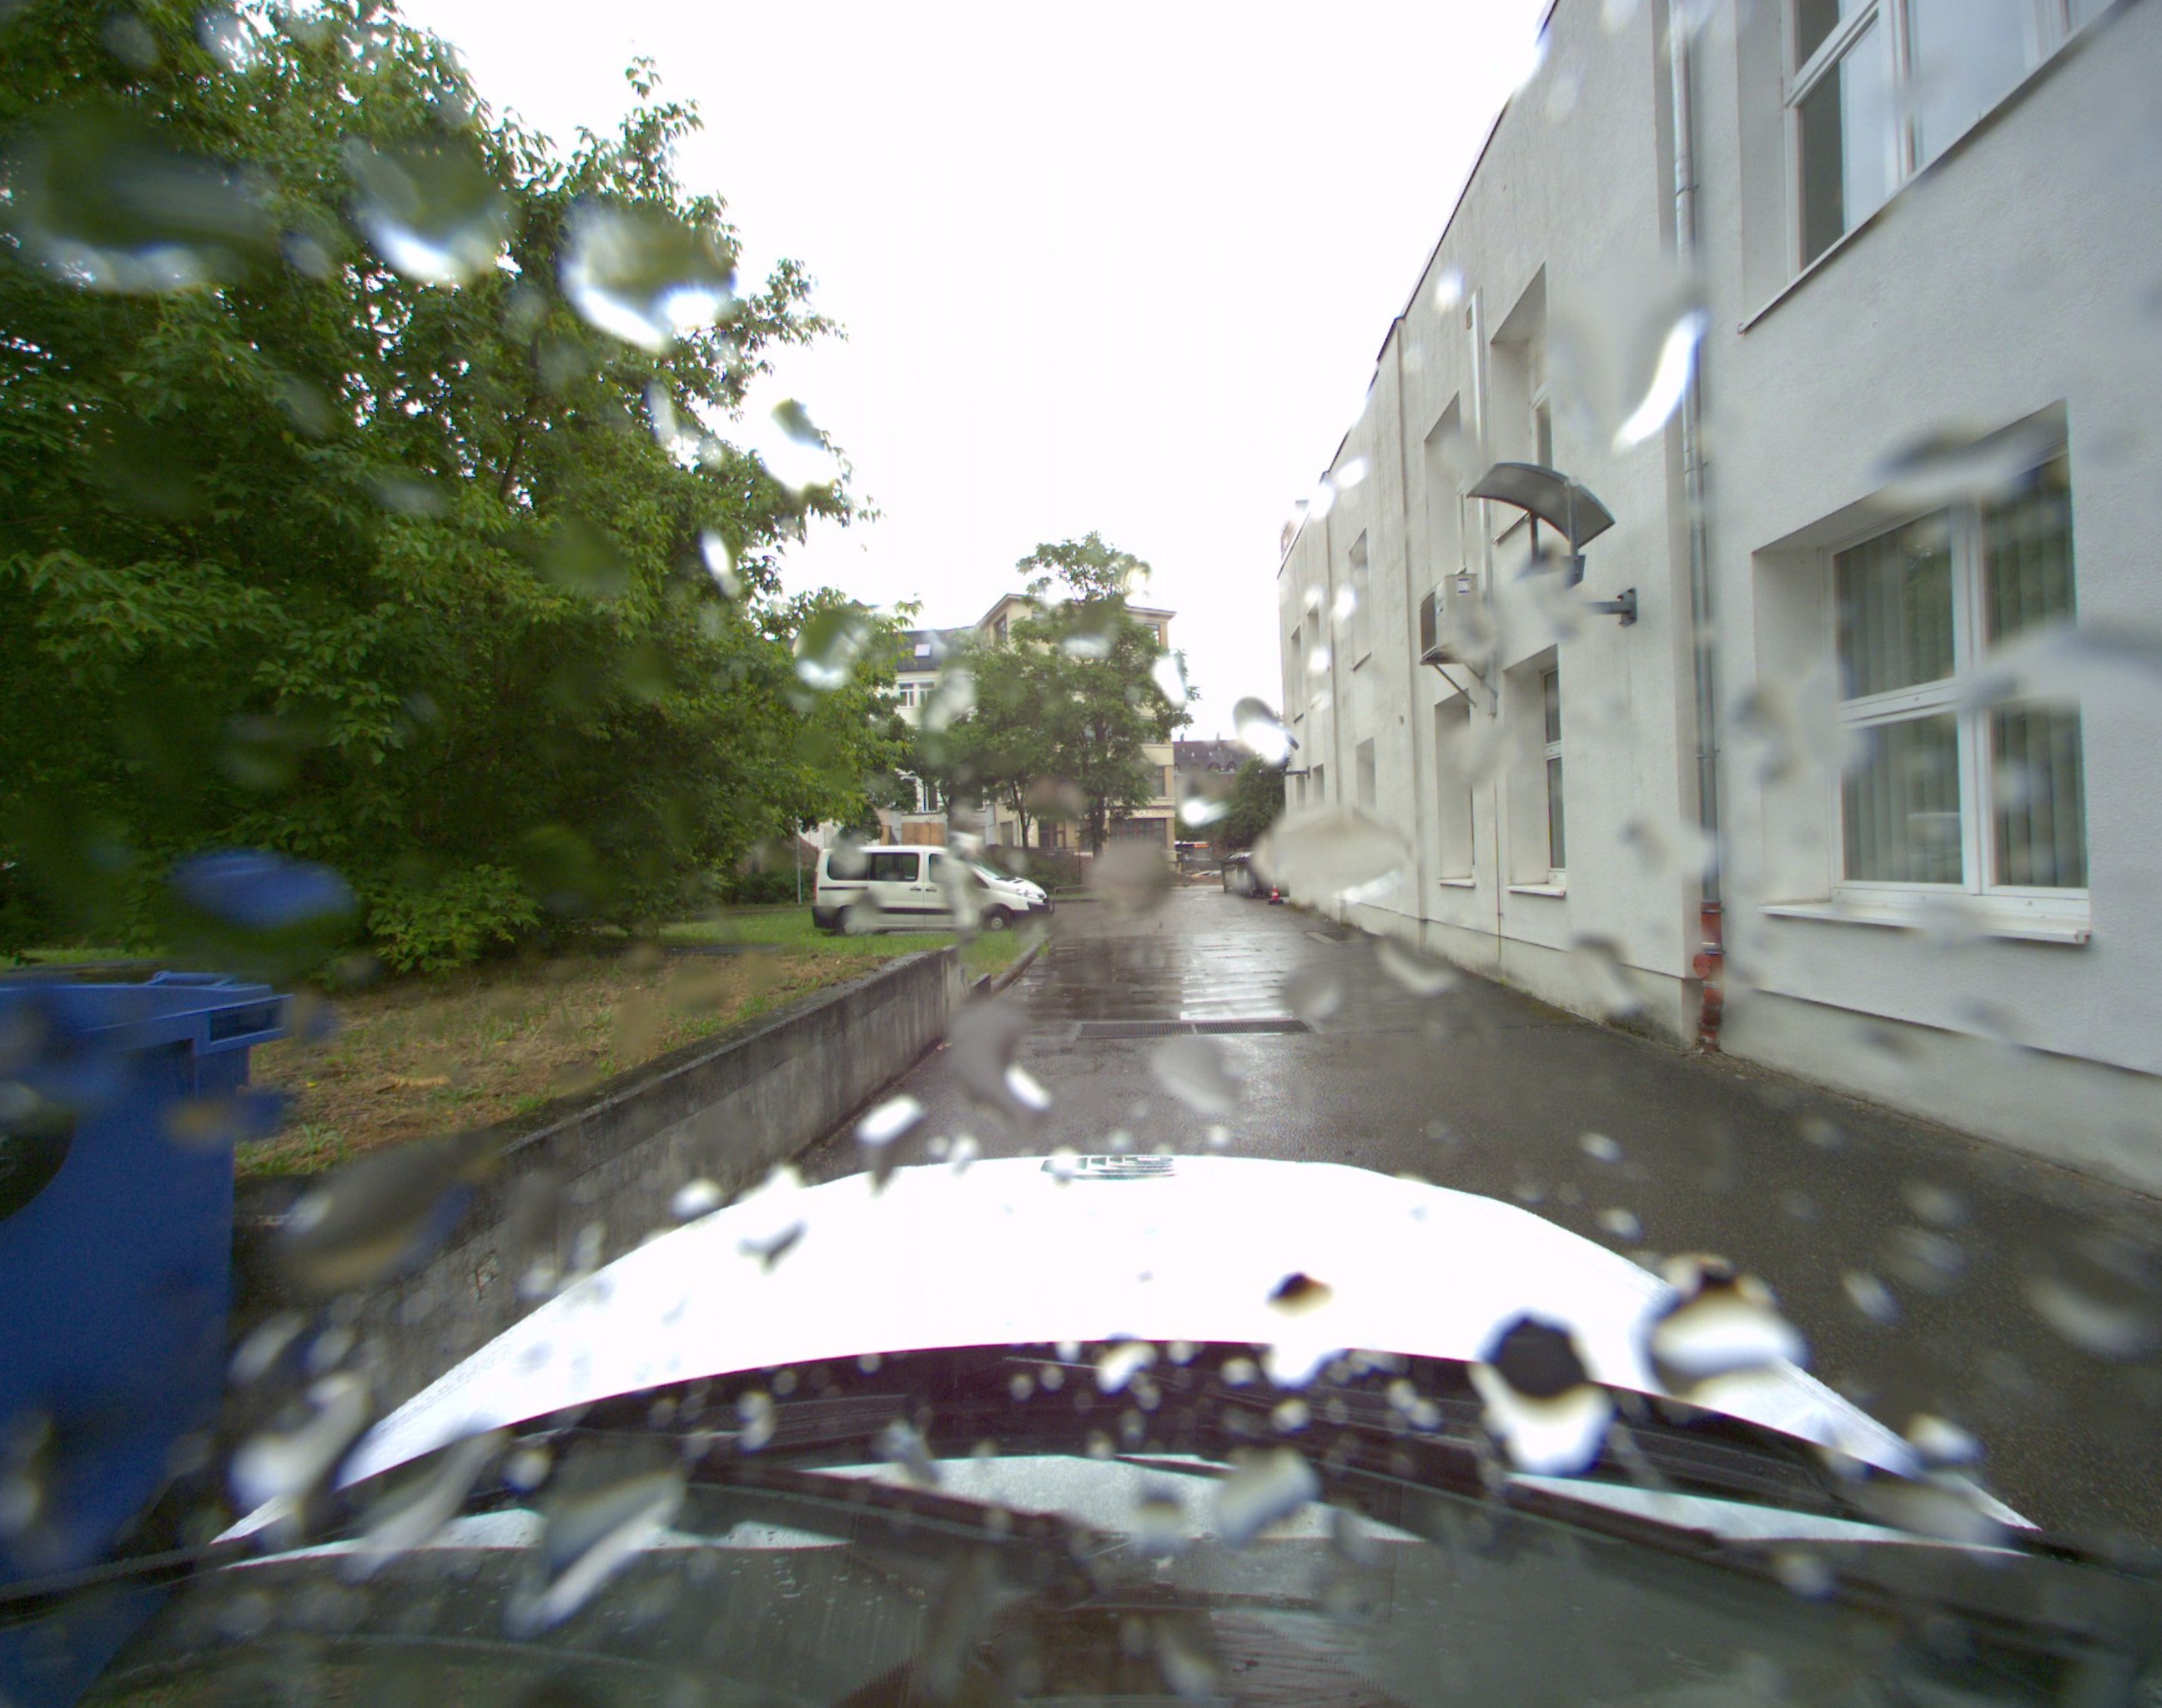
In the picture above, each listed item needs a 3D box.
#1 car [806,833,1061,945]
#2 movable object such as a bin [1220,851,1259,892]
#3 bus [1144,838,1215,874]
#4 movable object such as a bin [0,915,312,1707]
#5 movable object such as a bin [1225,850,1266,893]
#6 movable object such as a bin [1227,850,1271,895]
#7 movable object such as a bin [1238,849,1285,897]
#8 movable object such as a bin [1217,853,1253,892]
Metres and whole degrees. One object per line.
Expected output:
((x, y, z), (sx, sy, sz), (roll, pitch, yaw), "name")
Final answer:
((-2.950, 0.691, 16.955), (4.757, 2.013, 2.003), (-3, 0, 5), "car")
((5.885, 0.668, 30.341), (1.209, 1.437, 1.260), (-2, -3, 3), "movable object such as a bin")
((12.004, 0.350, 100.820), (2.820, 3.874, 11.956), (0, -3, -25), "bus")
((-2.437, 0.829, 1.415), (1.215, 1.337, 1.008), (-2, 0, 5), "movable object such as a bin")
((5.833, 0.645, 28.963), (1.210, 1.468, 1.236), (-2, -3, 3), "movable object such as a bin")
((5.615, 0.622, 27.340), (1.209, 1.437, 1.295), (-2, -3, 3), "movable object such as a bin")
((5.675, 0.598, 25.638), (1.210, 1.437, 1.236), (-2, -3, 3), "movable object such as a bin")
((5.977, 0.725, 31.717), (1.209, 1.437, 1.260), (-2, -3, 3), "movable object such as a bin")
